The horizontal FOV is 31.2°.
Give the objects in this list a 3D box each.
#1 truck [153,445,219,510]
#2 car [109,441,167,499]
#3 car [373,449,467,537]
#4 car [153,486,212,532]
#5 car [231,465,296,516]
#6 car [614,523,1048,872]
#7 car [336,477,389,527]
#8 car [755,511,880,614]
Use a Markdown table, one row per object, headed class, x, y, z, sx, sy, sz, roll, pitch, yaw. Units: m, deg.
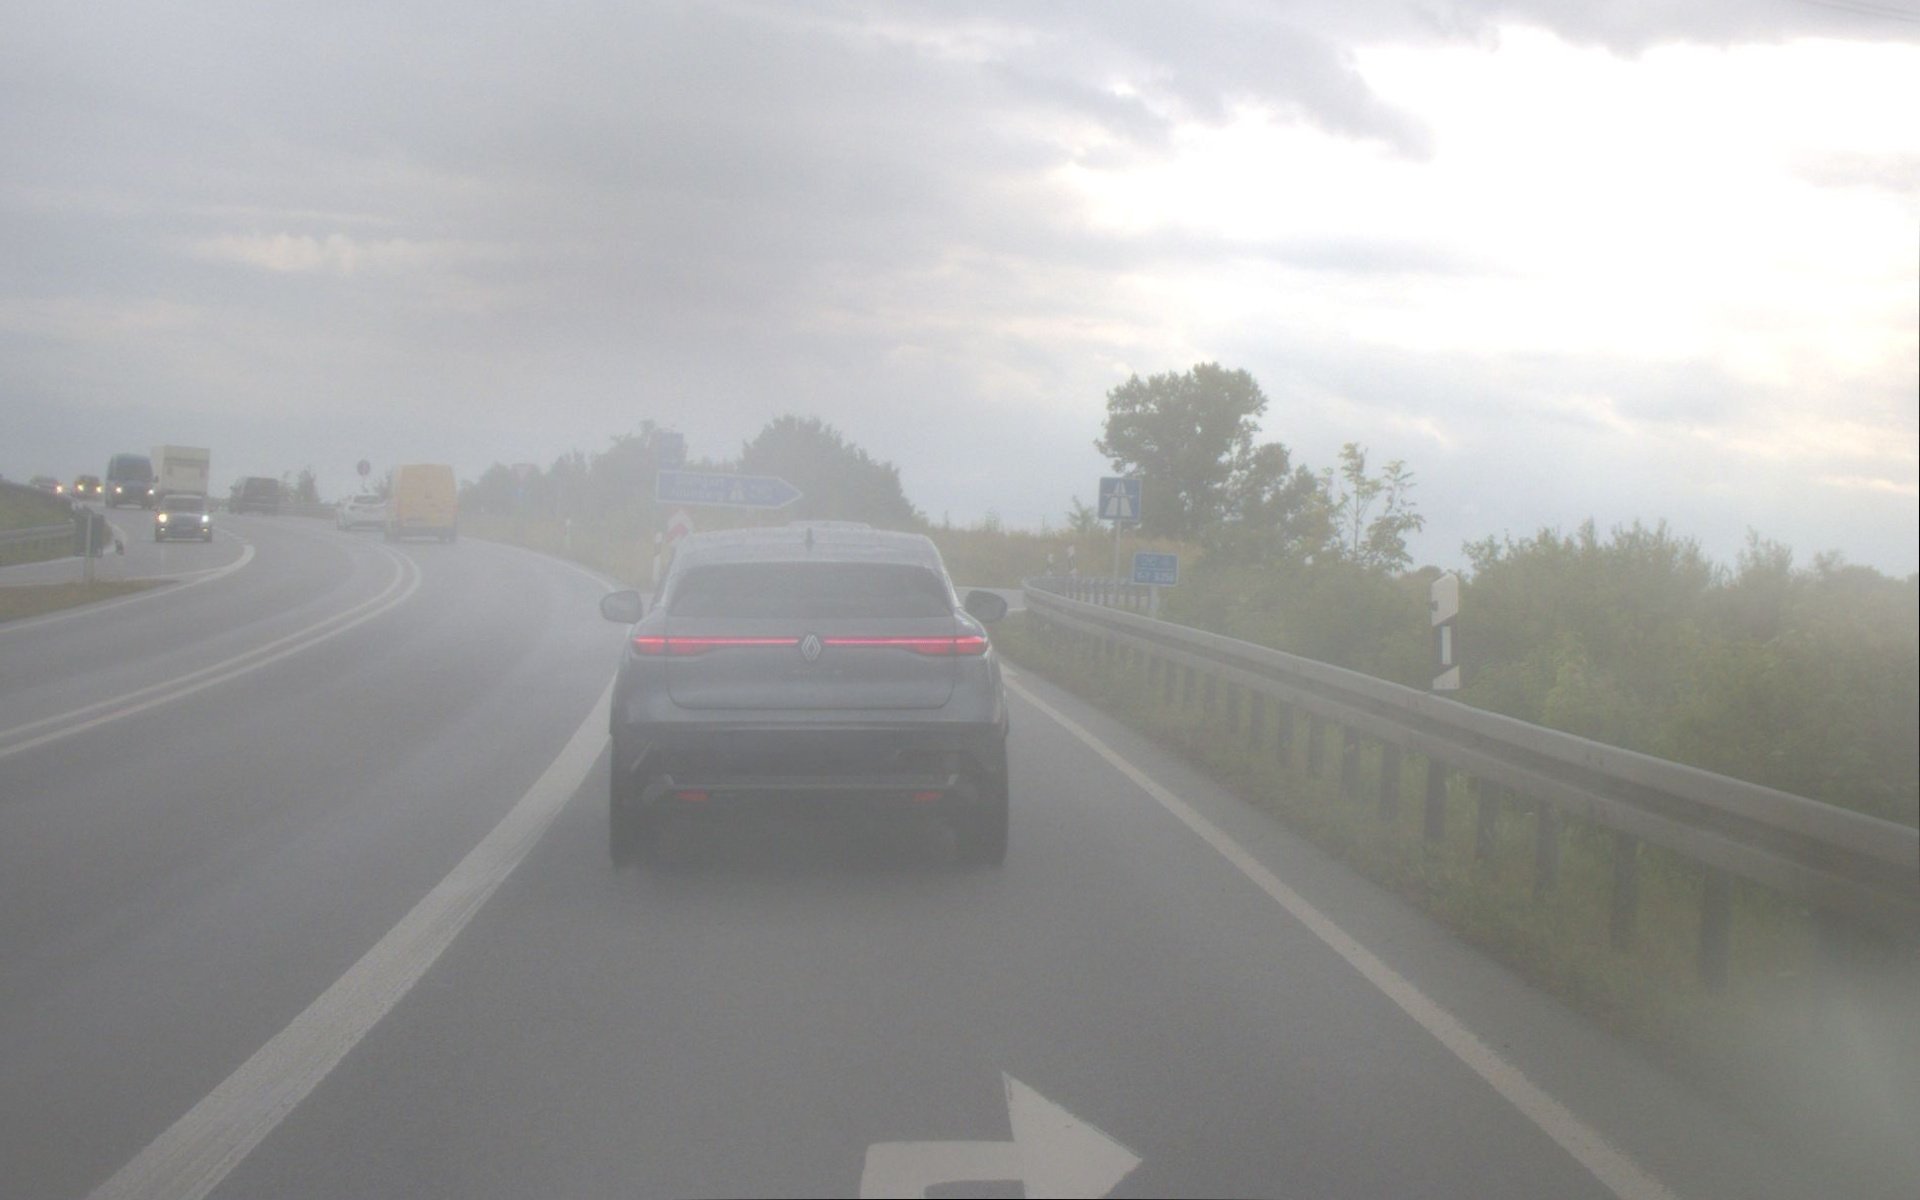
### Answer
| class | x | y | z | sx | sy | sz | roll | pitch | yaw |
| --- | --- | --- | --- | --- | --- | --- | --- | --- | --- |
| truck | -44.502 | -7.008 | 197.552 | 3.045 | 3.373 | 7.646 | 2 | -1 | -17 |
| car | -40.196 | -6.351 | 167.915 | 2.351 | 2.692 | 6.997 | 1 | 2 | -16 |
| car | -17.598 | -3.453 | 111.752 | 2.572 | 2.716 | 7.199 | 0 | 1 | -12 |
| car | -24.160 | -2.834 | 106.764 | 1.743 | 1.360 | 4.052 | 0 | 2 | -13 |
| car | -34.545 | -5.405 | 170.363 | 2.601 | 2.243 | 5.536 | 2 | -1 | -17 |
| car | -0.574 | 0.403 | 16.401 | 1.791 | 1.436 | 4.000 | 1 | 0 | -1 |
| car | -22.583 | -3.691 | 130.075 | 1.791 | 1.682 | 4.001 | 2 | -1 | -8 |
| car | -2.257 | -0.585 | 54.012 | 1.791 | 1.436 | 4.000 | 4 | 0 | -3 |
